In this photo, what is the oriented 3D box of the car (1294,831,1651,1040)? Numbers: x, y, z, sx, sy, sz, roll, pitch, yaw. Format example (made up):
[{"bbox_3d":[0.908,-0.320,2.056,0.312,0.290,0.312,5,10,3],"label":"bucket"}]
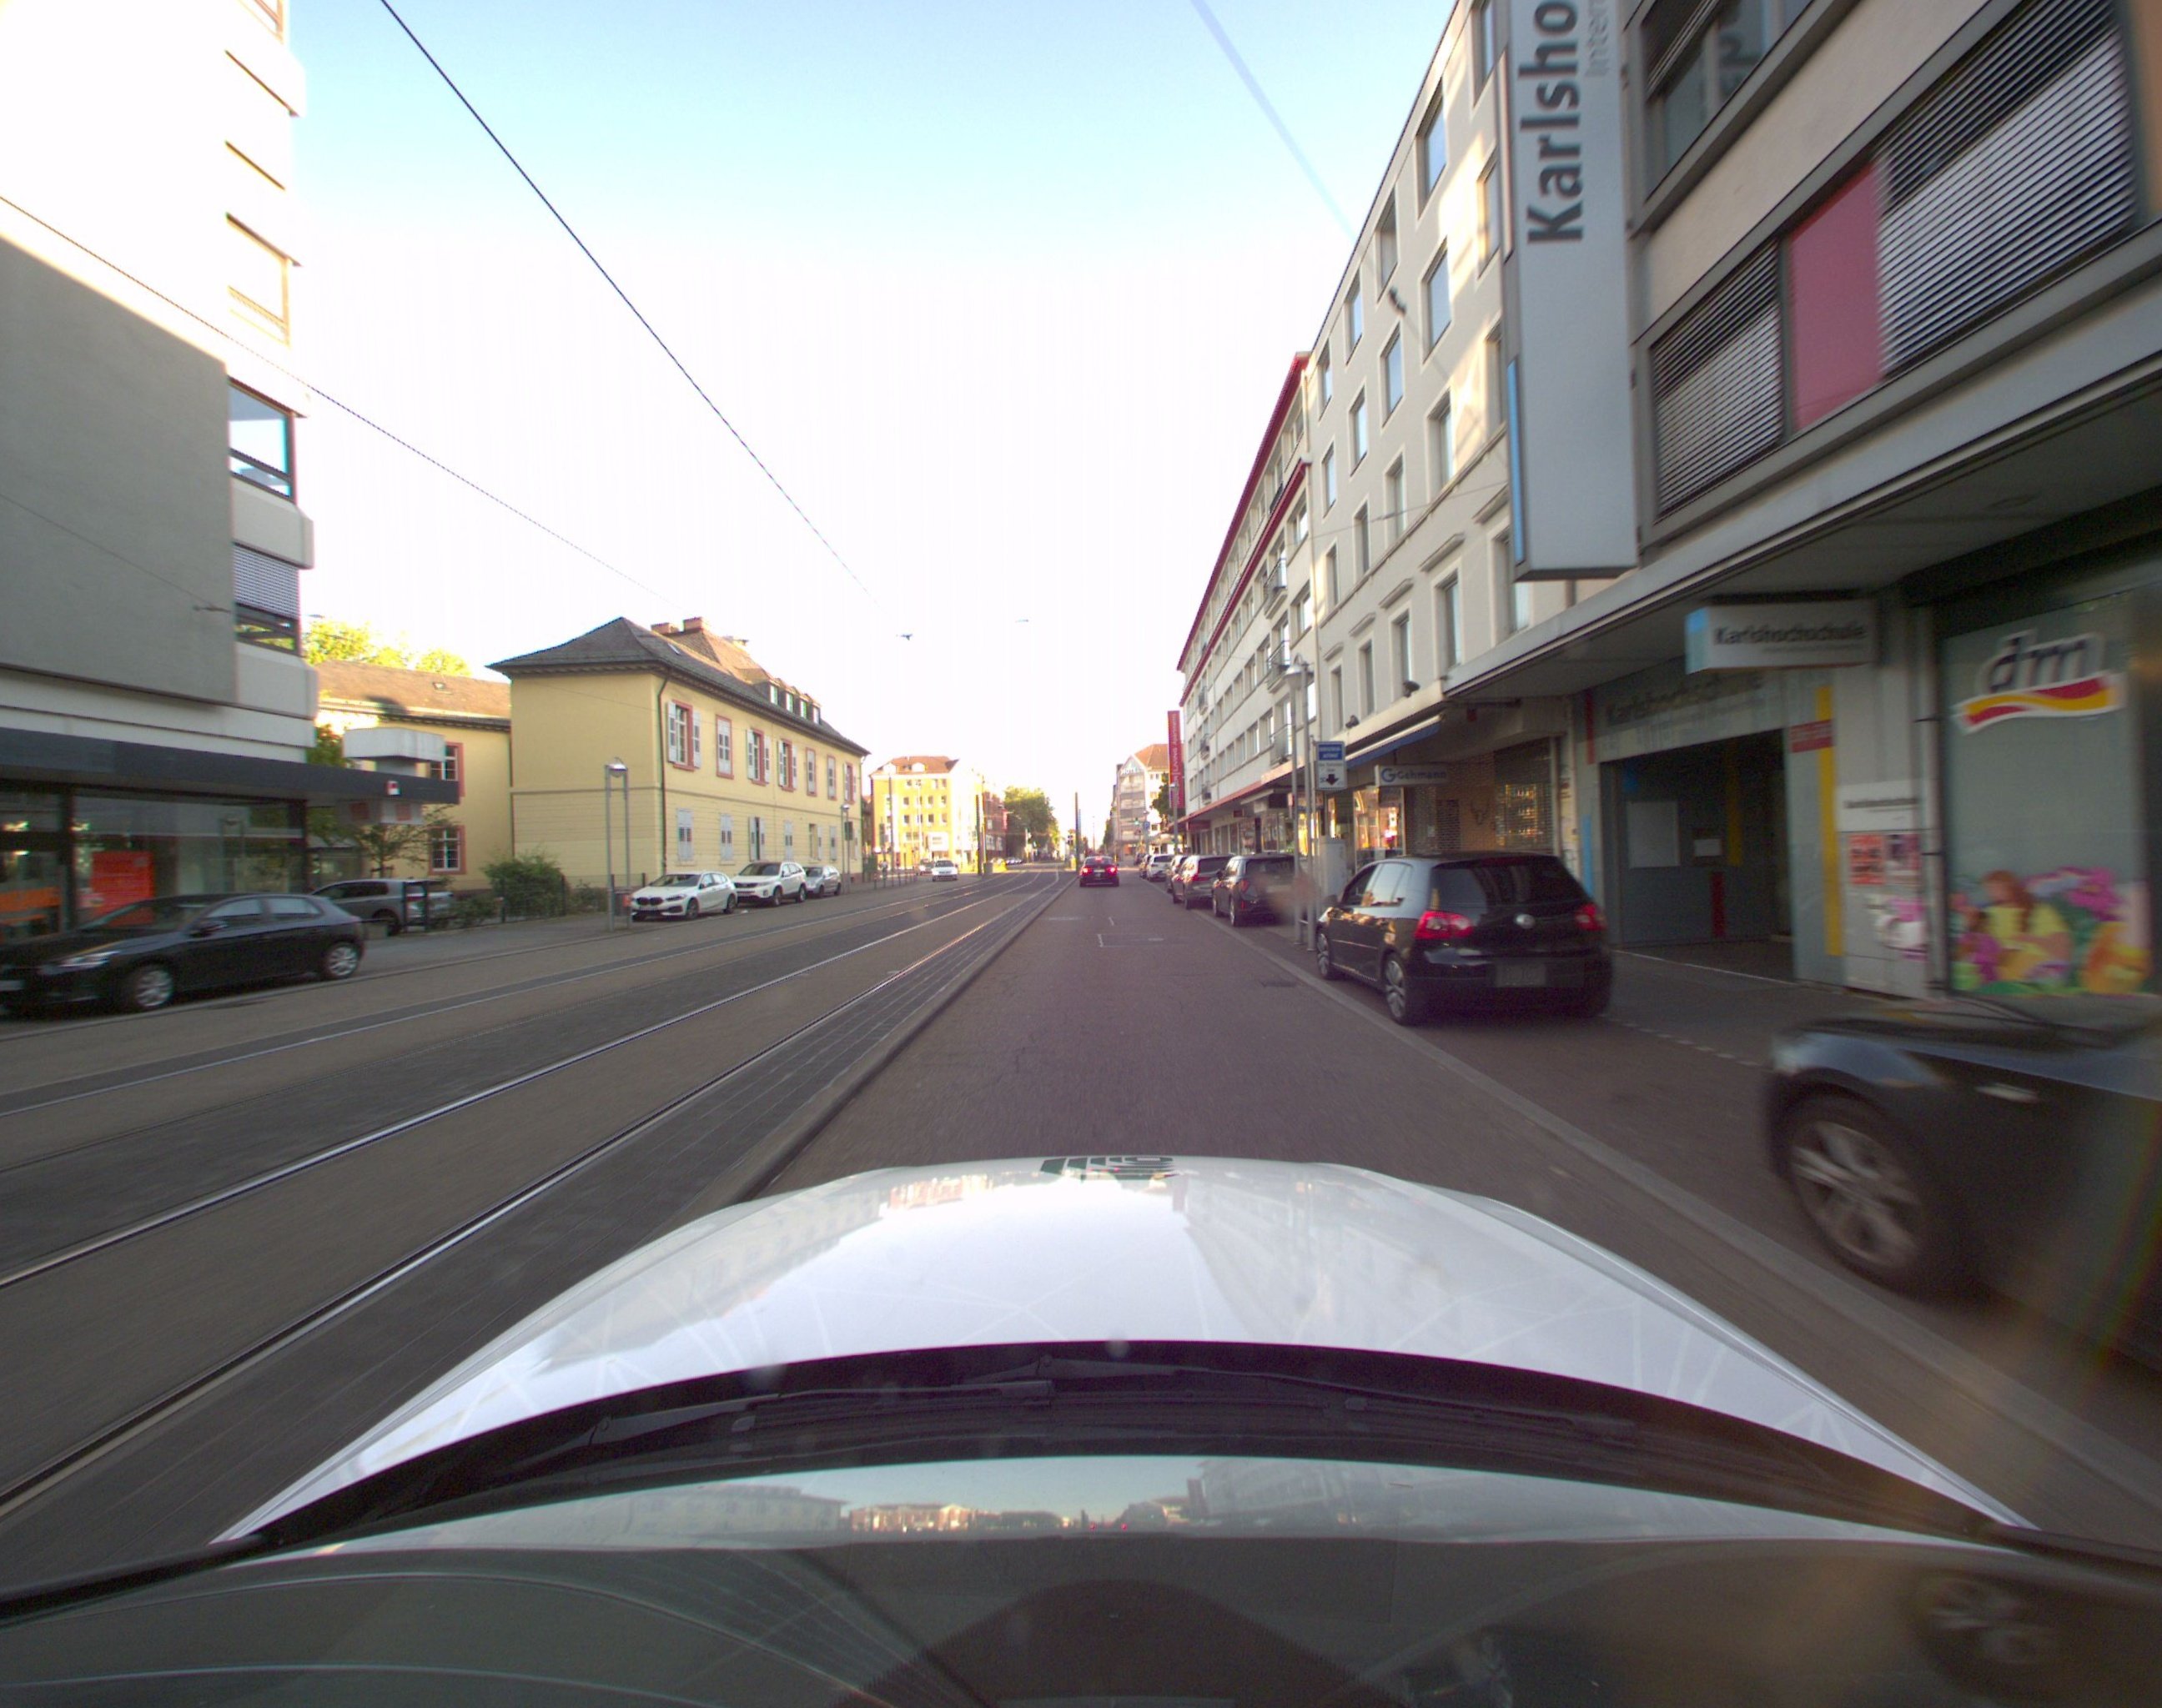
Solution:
[{"bbox_3d":[3.561,0.629,8.368,1.714,1.512,4.169,-3,0,2],"label":"car"}]

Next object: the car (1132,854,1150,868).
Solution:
[{"bbox_3d":[7.380,0.842,100.118,1.986,1.552,4.001,-2,0,1],"label":"car"}]

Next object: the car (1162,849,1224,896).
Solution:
[{"bbox_3d":[4.034,0.636,29.866,1.729,1.512,4.305,-3,0,2],"label":"car"}]

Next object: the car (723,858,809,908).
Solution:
[{"bbox_3d":[-12.110,1.049,31.628,1.809,1.785,4.491,1,0,-4],"label":"car"}]

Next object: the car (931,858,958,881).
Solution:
[{"bbox_3d":[-9.749,1.069,58.422,1.806,1.512,4.022,-2,0,-9],"label":"car"}]

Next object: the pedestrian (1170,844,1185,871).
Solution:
[{"bbox_3d":[6.320,0.209,53.506,0.824,1.718,0.843,-3,0,1],"label":"pedestrian"}]

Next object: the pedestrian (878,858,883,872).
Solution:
[{"bbox_3d":[-26.855,1.435,109.042,0.501,1.868,0.562,0,0,-4],"label":"pedestrian"}]

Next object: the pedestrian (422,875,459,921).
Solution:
[{"bbox_3d":[-22.716,1.547,28.883,0.743,1.572,0.675,-2,0,0],"label":"pedestrian"}]

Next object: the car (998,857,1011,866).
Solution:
[{"bbox_3d":[-15.041,1.482,160.408,1.988,1.585,4.585,-2,0,-1],"label":"car"}]

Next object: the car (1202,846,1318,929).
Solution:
[{"bbox_3d":[3.740,0.647,17.700,1.679,1.512,4.036,-3,0,2],"label":"car"}]

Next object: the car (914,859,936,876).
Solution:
[{"bbox_3d":[-14.680,1.245,76.671,1.734,1.512,4.023,-2,0,-8],"label":"car"}]

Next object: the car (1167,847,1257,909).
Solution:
[{"bbox_3d":[3.637,0.631,23.440,1.784,1.512,4.711,-3,0,0],"label":"car"}]

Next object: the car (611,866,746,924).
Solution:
[{"bbox_3d":[-12.463,1.213,25.582,1.805,1.512,4.436,-2,0,3],"label":"car"}]

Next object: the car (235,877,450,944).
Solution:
[{"bbox_3d":[-19.205,1.445,21.303,3.970,1.467,1.848,-2,0,3],"label":"car"}]

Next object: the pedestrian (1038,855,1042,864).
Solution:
[{"bbox_3d":[-9.251,1.185,183.886,0.985,2.014,0.726,0,-1,0],"label":"pedestrian"}]

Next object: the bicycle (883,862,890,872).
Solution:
[{"bbox_3d":[-26.142,1.708,109.524,0.616,1.325,2.014,0,0,-3],"label":"bicycle"}]

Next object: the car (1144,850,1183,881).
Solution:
[{"bbox_3d":[4.419,0.613,44.108,1.778,1.512,4.053,-3,0,2],"label":"car"}]

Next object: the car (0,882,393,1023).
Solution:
[{"bbox_3d":[-12.629,1.243,11.773,1.679,1.512,4.217,0,0,2],"label":"car"}]

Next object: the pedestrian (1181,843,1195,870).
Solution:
[{"bbox_3d":[6.910,0.159,52.535,0.726,1.741,0.863,-3,0,1],"label":"pedestrian"}]

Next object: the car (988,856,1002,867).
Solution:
[{"bbox_3d":[-15.797,1.418,149.699,1.988,1.901,4.809,-2,0,-1],"label":"car"}]

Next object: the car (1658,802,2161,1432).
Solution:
[{"bbox_3d":[3.436,0.601,1.521,1.737,1.512,4.260,-3,0,2],"label":"car"}]

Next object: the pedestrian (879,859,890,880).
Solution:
[{"bbox_3d":[-15.108,1.191,62.593,0.730,1.584,0.952,-2,0,-8],"label":"pedestrian"}]

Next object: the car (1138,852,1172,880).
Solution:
[{"bbox_3d":[4.426,0.671,49.404,1.728,1.512,4.687,-3,0,2],"label":"car"}]

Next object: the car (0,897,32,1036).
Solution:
[{"bbox_3d":[-12.761,1.244,7.108,1.679,1.512,4.217,0,0,2],"label":"car"}]

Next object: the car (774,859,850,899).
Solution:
[{"bbox_3d":[-12.270,1.098,37.431,1.805,1.617,4.218,-2,0,3],"label":"car"}]

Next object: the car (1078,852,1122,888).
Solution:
[{"bbox_3d":[0.931,0.758,39.696,1.986,1.585,4.001,-2,0,1],"label":"car"}]
